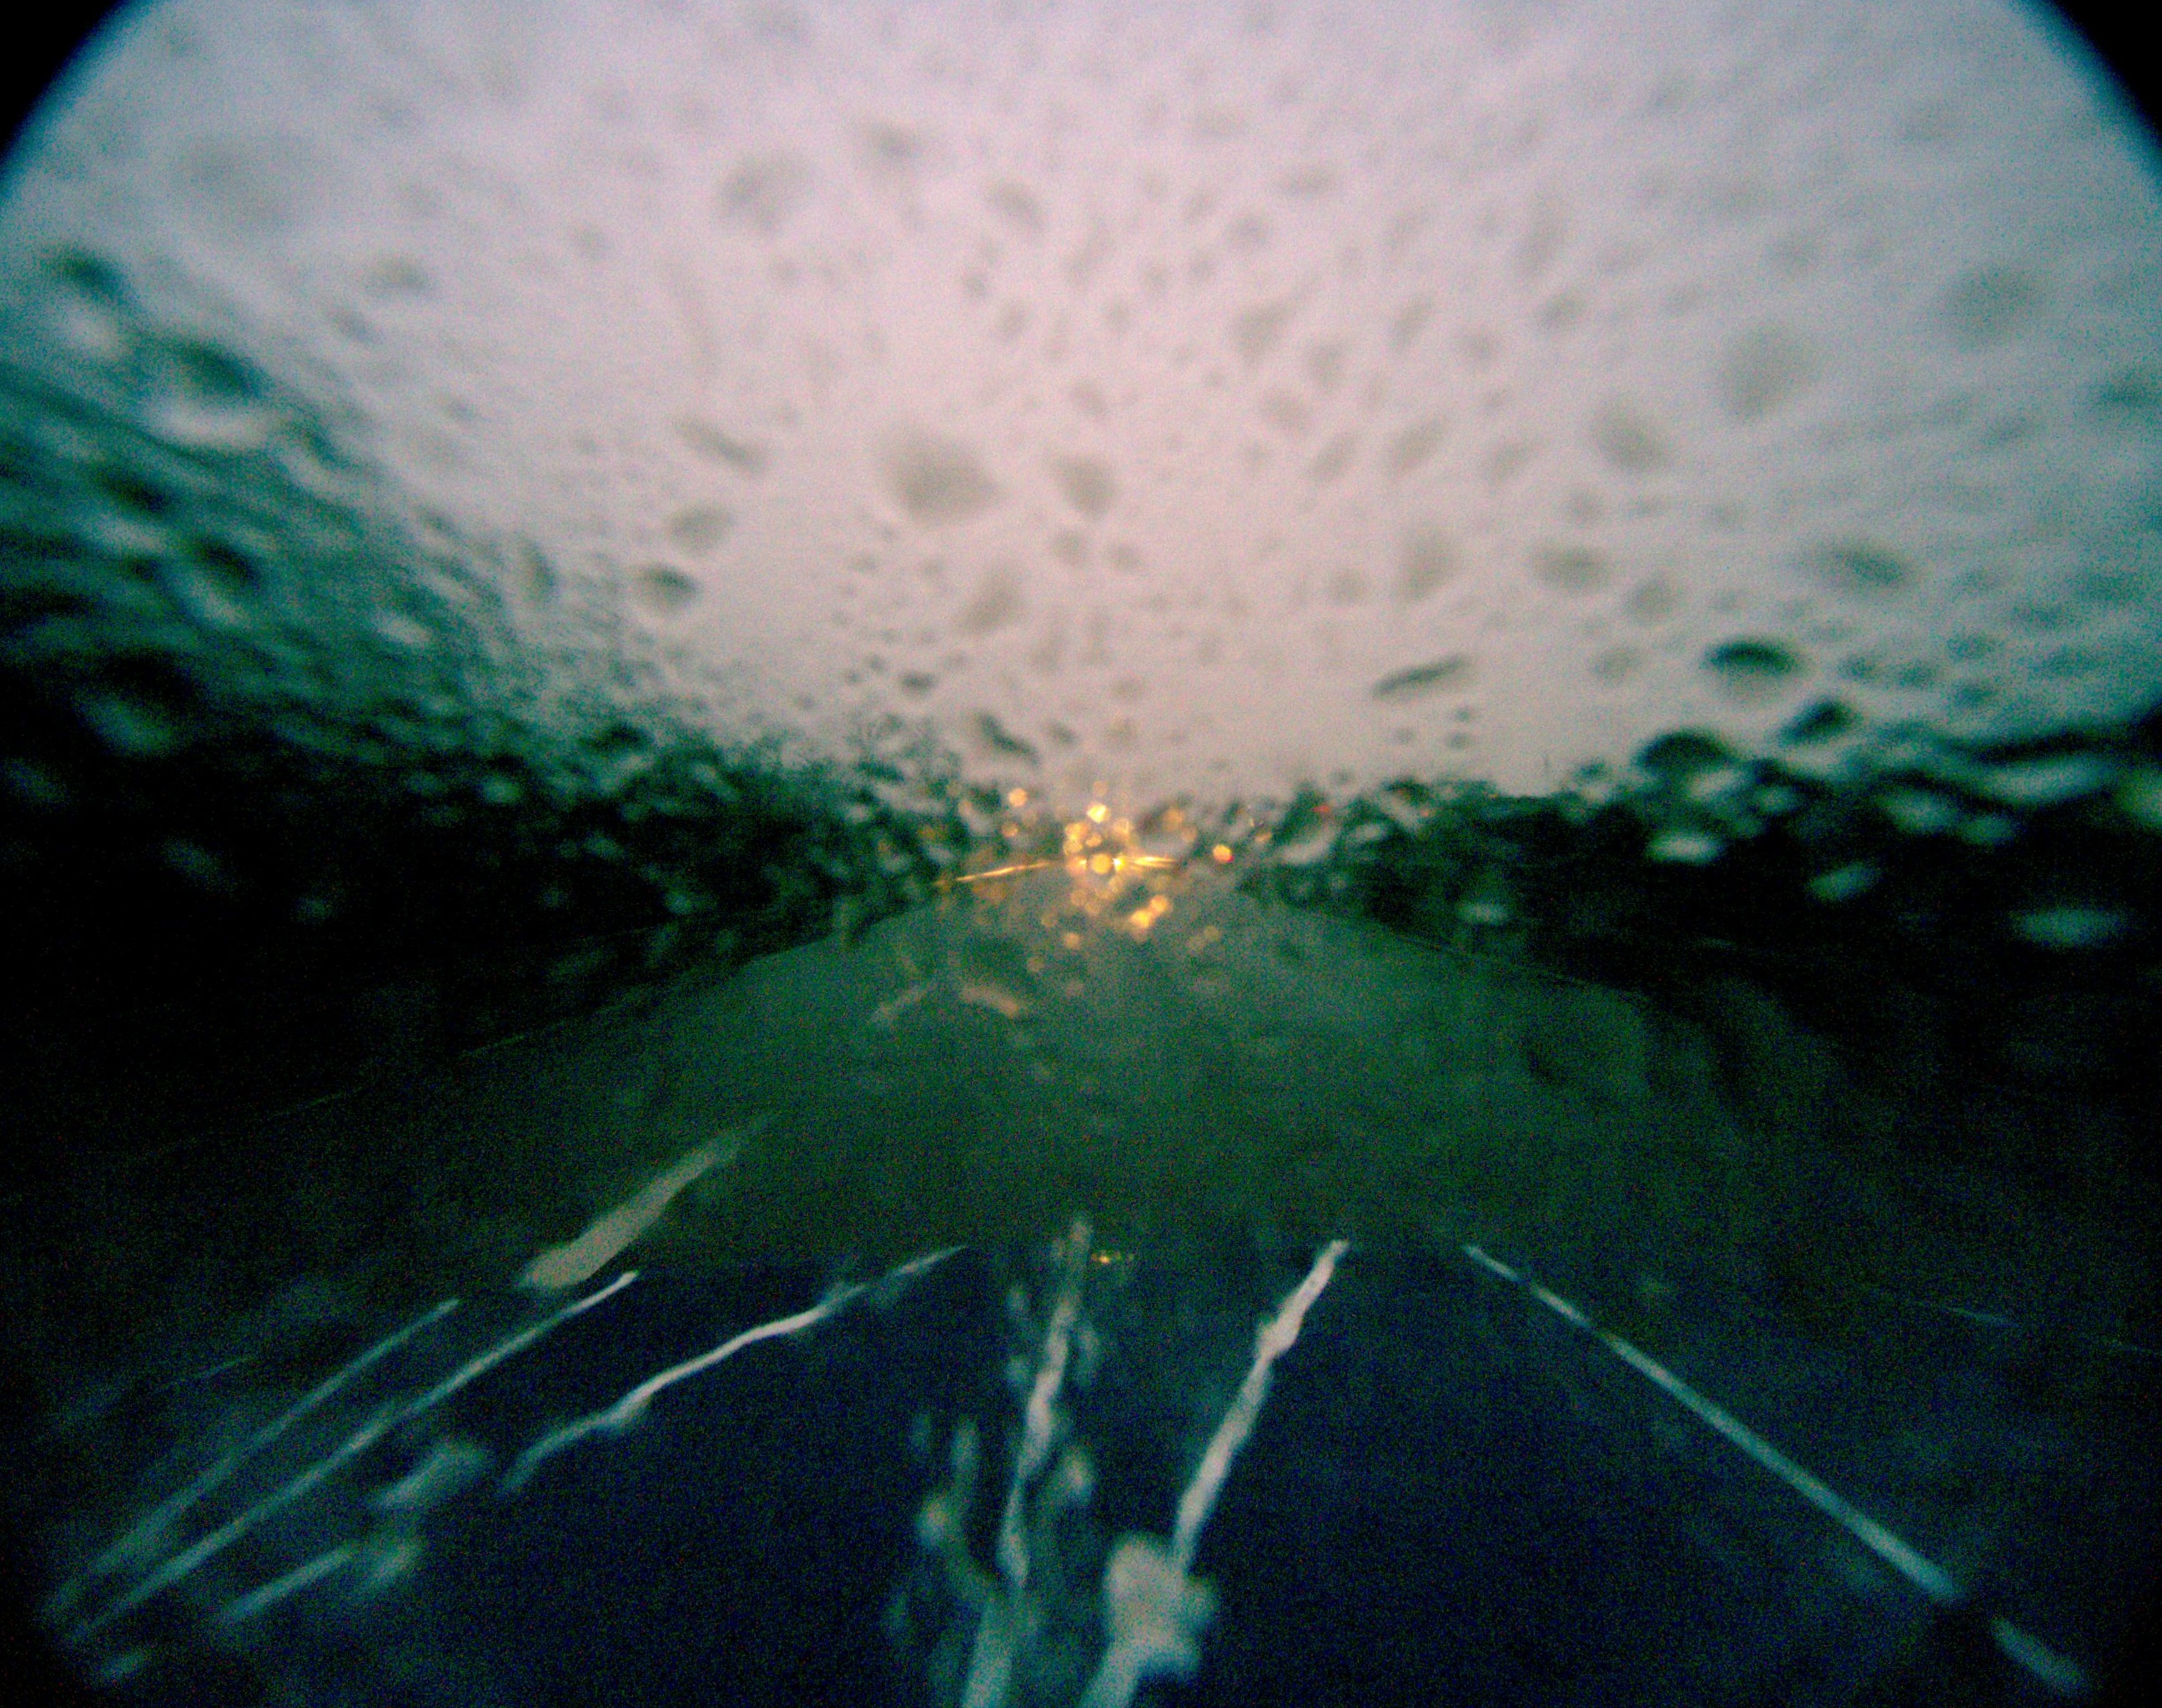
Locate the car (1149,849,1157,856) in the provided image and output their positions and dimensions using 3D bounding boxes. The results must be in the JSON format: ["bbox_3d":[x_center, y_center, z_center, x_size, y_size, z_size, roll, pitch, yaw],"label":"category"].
[{"bbox_3d":[17.884,-0.314,188.482,1.741,1.499,4.000,-3,1,2],"label":"car"}]

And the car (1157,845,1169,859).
[{"bbox_3d":[16.295,-0.388,151.797,1.932,2.284,4.885,-3,4,2],"label":"car"}]

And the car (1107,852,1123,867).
[{"bbox_3d":[5.020,0.833,113.597,1.999,2.002,3.999,-4,0,-1],"label":"car"}]

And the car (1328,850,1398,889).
[{"bbox_3d":[12.732,0.643,34.592,1.745,1.630,4.000,-1,0,1],"label":"car"}]

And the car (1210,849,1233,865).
[{"bbox_3d":[14.942,0.300,80.900,1.745,1.630,4.000,-1,0,1],"label":"car"}]

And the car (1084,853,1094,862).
[{"bbox_3d":[1.402,0.621,134.195,1.682,1.401,3.775,-2,0,3],"label":"car"}]
